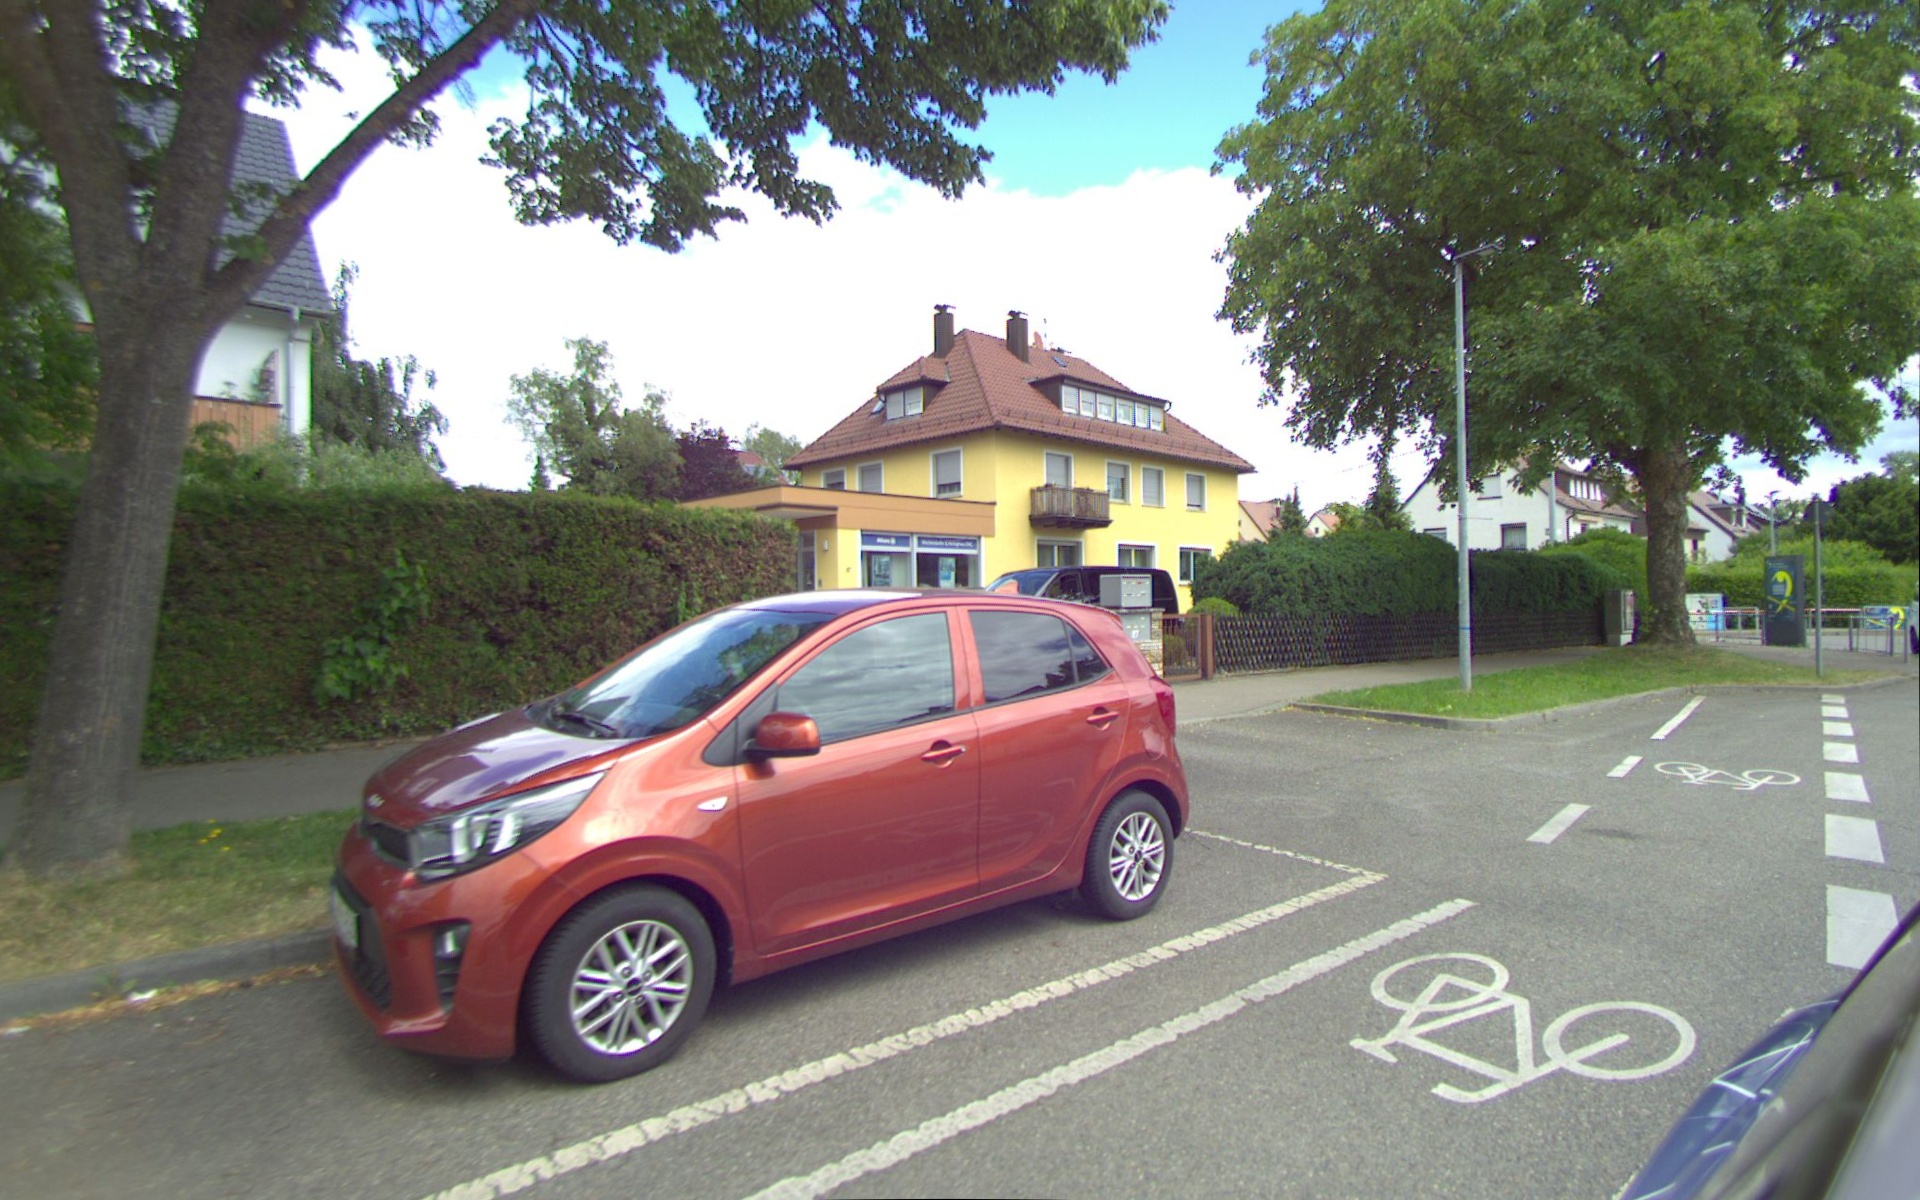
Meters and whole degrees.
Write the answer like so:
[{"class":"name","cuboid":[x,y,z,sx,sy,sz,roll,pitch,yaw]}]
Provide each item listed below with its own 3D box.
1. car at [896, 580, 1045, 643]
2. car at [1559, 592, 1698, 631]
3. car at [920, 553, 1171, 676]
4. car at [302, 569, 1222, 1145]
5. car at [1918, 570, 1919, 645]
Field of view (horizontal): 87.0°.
[{"class":"car","cuboid":[0.336,0.303,27.903,3.902,1.603,1.771,0,-1,-40]},{"class":"car","cuboid":[26.392,0.463,40.064,1.554,1.467,4.318,0,-1,-36]},{"class":"car","cuboid":[1.589,0.227,17.807,4.389,1.905,1.818,0,-1,-40]},{"class":"car","cuboid":[-0.606,0.645,4.362,3.603,1.473,1.568,0,0,-40]},{"class":"car","cuboid":[25.718,0.207,25.223,1.987,2.039,4.985,0,0,36]}]
